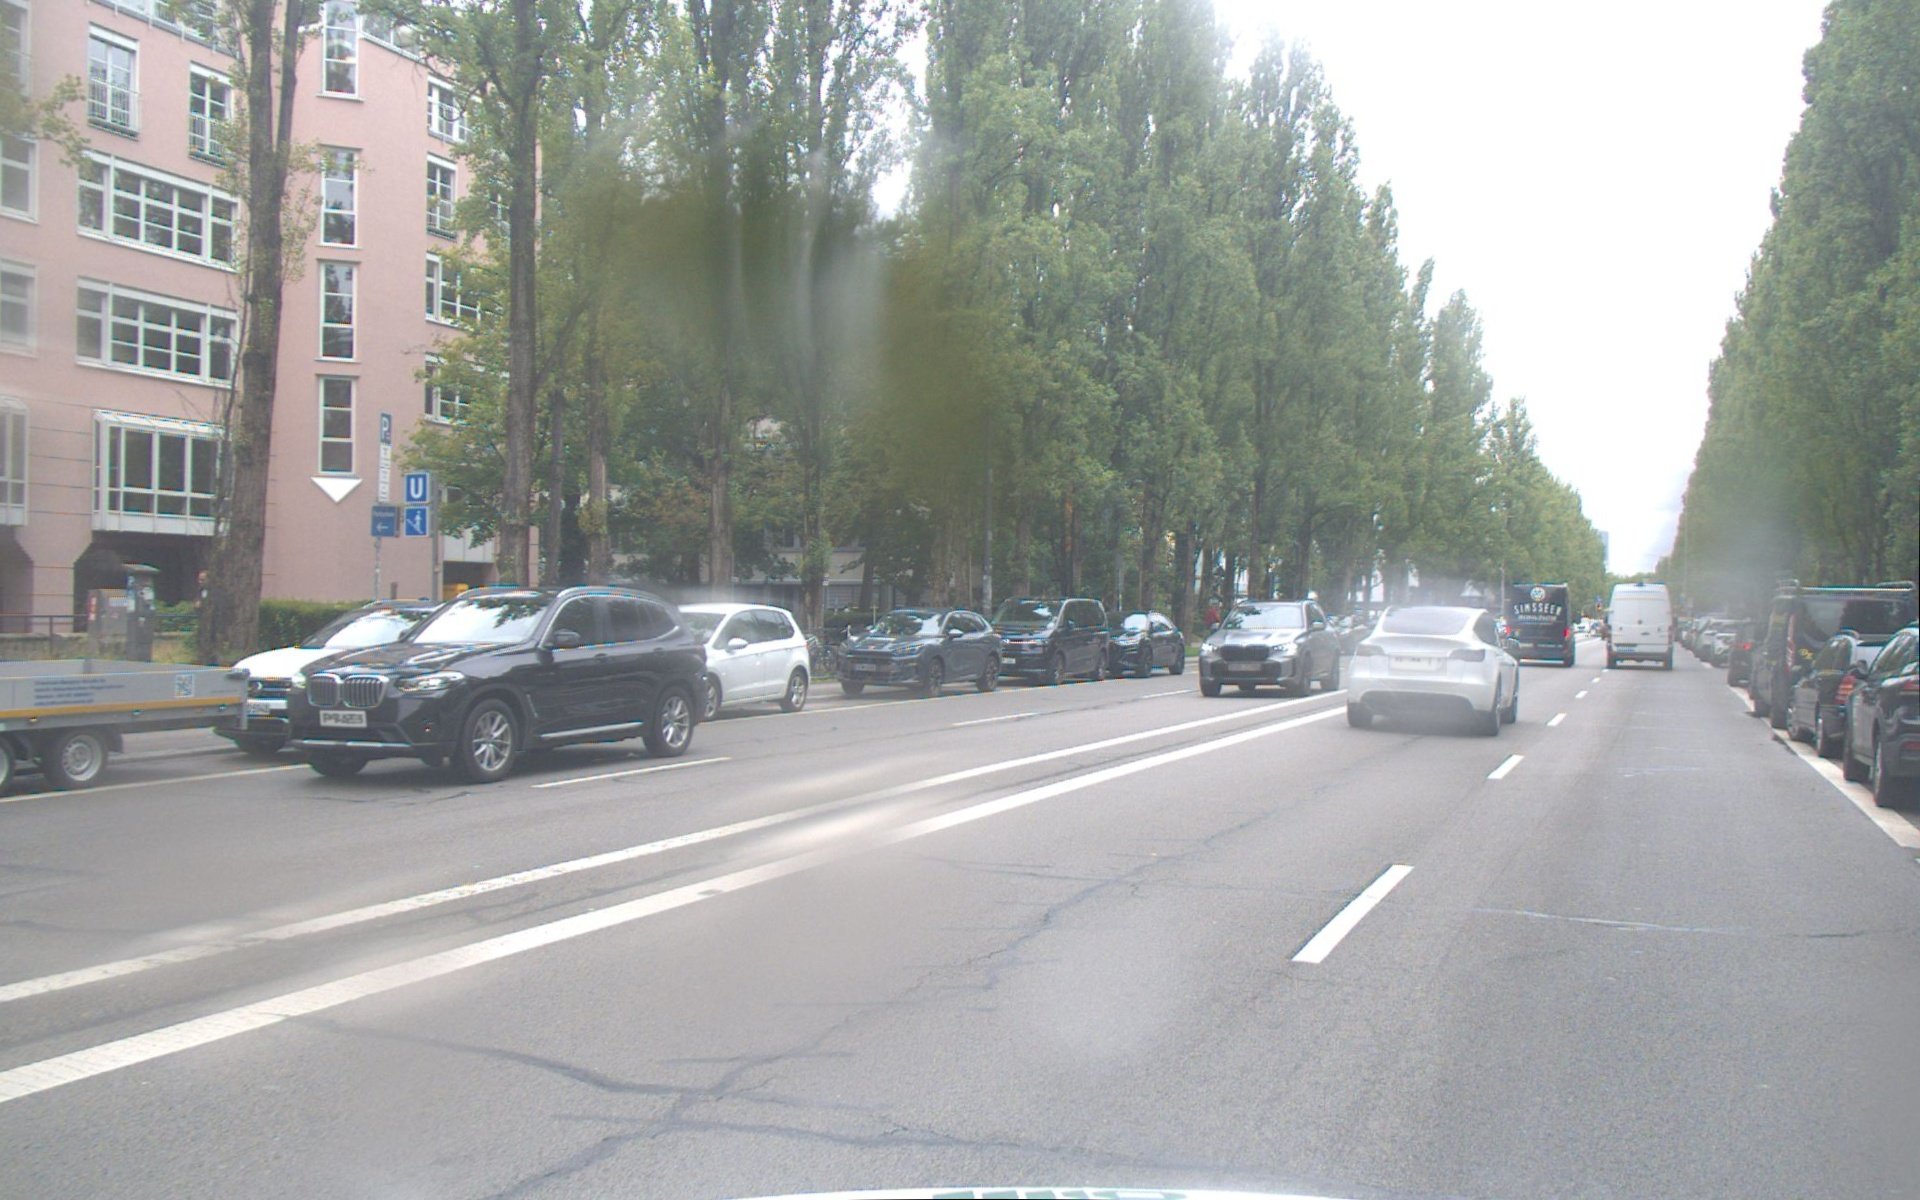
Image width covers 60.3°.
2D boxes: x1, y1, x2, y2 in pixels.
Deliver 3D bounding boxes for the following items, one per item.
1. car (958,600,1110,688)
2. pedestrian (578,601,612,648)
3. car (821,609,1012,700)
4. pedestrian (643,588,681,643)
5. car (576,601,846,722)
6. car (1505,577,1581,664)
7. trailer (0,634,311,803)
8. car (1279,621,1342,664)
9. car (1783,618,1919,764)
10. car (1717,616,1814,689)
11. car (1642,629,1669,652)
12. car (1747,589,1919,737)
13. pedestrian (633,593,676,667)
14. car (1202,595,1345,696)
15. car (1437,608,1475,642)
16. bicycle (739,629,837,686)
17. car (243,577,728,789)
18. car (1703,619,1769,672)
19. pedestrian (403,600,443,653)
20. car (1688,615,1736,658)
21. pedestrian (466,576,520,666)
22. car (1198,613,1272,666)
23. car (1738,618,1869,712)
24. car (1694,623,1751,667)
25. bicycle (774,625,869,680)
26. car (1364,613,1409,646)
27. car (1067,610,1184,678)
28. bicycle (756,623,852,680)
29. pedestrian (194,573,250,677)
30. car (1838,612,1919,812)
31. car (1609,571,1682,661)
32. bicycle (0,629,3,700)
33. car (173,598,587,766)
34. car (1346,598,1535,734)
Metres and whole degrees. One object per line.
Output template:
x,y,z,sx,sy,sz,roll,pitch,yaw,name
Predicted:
1.744,0.952,37.095,1.953,1.829,4.761,0,-1,22,car
-13.195,0.893,59.766,0.798,1.691,0.897,0,-1,24,pedestrian
-0.722,0.974,31.042,1.953,1.569,4.323,0,-1,23,car
-9.274,0.483,51.436,0.798,1.691,0.897,0,-1,24,pedestrian
-3.455,0.818,23.852,1.953,1.569,4.324,0,-1,22,car
19.090,0.654,53.975,2.033,2.600,5.931,2,0,22,car
-8.262,0.911,12.966,2.348,1.220,6.036,0,-1,23,trailer
13.895,1.652,65.460,1.725,1.607,3.971,0,-1,23,car
11.088,1.025,19.841,1.707,1.553,4.234,2,0,21,car
19.315,1.222,39.780,1.707,1.619,3.951,2,0,21,car
52.666,3.044,125.332,1.707,1.671,3.951,2,0,21,car
13.253,0.895,25.151,1.871,1.958,5.039,2,0,21,car
-7.284,0.701,39.430,0.693,1.744,0.731,0,-1,24,pedestrian
6.025,0.841,31.351,1.952,1.746,4.760,-1,-1,19,car
33.684,1.673,112.295,1.953,2.156,4.999,0,1,23,car
-3.575,1.178,34.321,1.942,1.144,0.676,0,-1,24,bicycle
-4.199,0.678,15.494,1.953,1.671,4.549,-1,-1,23,car
26.493,1.526,56.545,1.707,1.671,3.951,2,0,21,car
-17.137,0.837,52.778,0.798,1.691,0.897,0,-1,24,pedestrian
34.195,1.652,75.269,1.707,1.818,3.951,2,0,21,car
-9.179,0.412,32.536,0.693,1.744,0.731,0,-1,24,pedestrian
9.187,1.284,55.034,1.902,1.606,3.612,0,1,18,car
15.566,1.153,30.687,1.707,1.553,3.951,2,0,21,car
29.485,1.716,64.031,1.707,1.573,3.951,2,0,21,car
-2.995,1.124,35.756,1.942,1.144,0.676,0,-1,24,bicycle
21.414,1.483,83.003,1.725,1.606,3.460,0,0,23,car
4.293,1.094,42.223,1.952,1.635,4.353,0,-1,20,car
-3.313,1.081,35.070,1.942,1.144,0.676,0,-1,24,bicycle
-11.736,0.395,26.306,0.549,1.633,0.654,0,-1,43,pedestrian
8.826,0.922,14.449,1.708,1.553,3.906,2,0,24,car
22.211,0.513,53.645,1.998,2.698,6.040,2,0,23,car
-16.471,1.032,26.771,1.942,1.144,0.676,0,-1,24,bicycle
-6.041,0.792,17.773,1.764,1.569,4.231,-1,-1,25,car
6.655,0.821,22.557,1.953,1.603,4.637,2,0,22,car
